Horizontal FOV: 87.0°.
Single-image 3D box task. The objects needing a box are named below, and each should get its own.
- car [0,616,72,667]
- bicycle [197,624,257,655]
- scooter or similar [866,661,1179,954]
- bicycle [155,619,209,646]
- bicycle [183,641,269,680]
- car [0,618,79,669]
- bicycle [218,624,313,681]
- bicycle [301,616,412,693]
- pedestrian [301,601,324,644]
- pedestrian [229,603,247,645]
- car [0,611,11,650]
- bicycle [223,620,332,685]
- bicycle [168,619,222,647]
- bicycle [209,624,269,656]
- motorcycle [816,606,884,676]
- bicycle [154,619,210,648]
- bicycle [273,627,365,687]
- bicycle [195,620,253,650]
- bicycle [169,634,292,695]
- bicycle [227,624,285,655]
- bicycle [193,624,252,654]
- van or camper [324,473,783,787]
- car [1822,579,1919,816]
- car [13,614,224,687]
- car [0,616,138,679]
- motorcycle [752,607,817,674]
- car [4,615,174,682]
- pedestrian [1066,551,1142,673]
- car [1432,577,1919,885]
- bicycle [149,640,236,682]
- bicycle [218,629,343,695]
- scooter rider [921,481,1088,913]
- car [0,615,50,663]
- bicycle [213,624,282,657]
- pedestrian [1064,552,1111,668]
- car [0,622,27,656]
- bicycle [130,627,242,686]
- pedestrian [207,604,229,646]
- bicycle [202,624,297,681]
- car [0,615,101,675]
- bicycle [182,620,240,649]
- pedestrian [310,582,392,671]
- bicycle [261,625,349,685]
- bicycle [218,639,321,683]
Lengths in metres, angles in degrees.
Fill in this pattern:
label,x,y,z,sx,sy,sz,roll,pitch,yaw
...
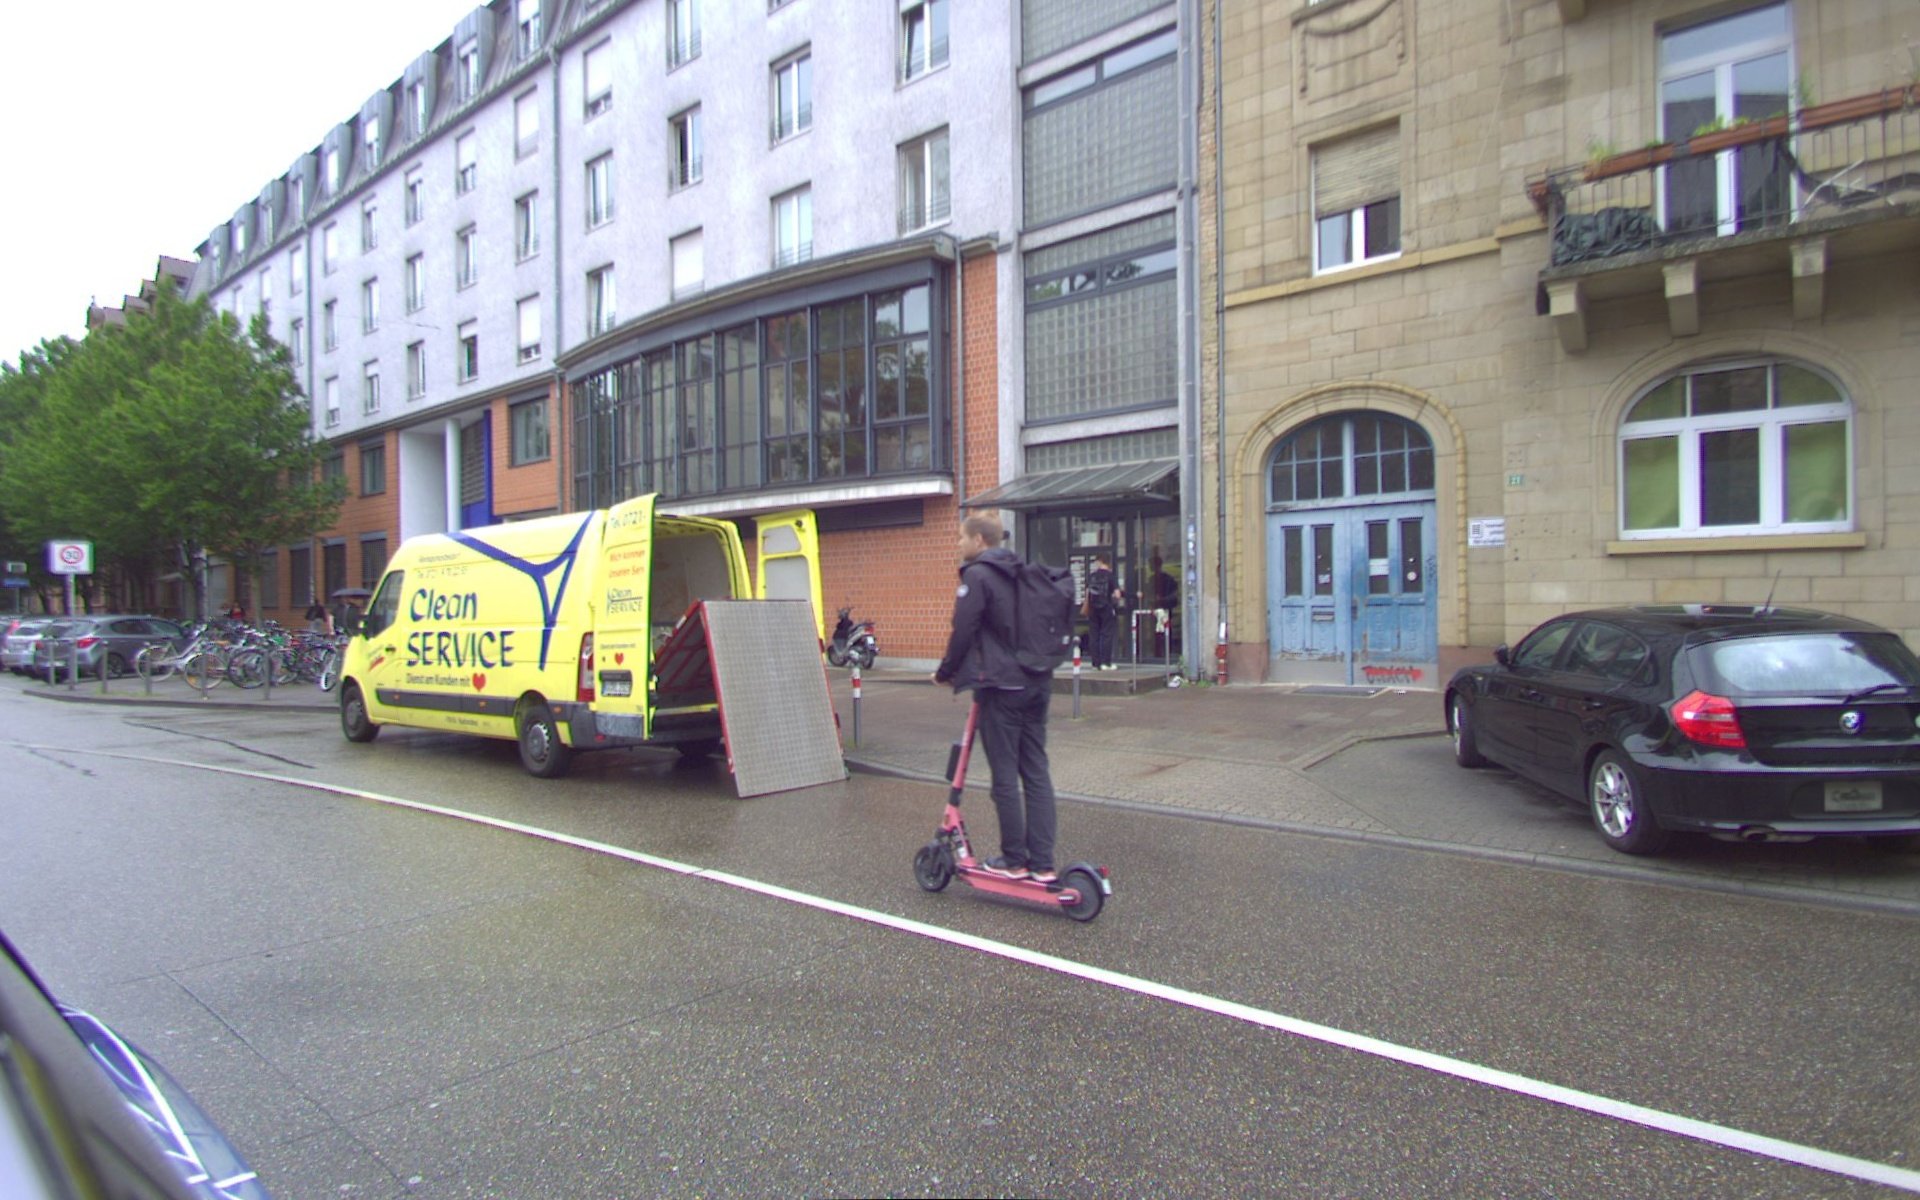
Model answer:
label,x,y,z,sx,sy,sz,roll,pitch,yaw
car,-30.761,1.347,32.655,1.358,1.567,2.971,-1,0,11
bicycle,-24.524,1.308,33.894,0.444,0.992,1.573,-1,-1,32
scooter or similar,0.279,0.912,4.959,1.383,1.174,0.694,-1,-2,39
bicycle,-29.605,1.224,38.546,0.464,0.992,1.573,-1,-1,32
bicycle,-16.170,1.324,22.309,0.497,0.727,1.454,-1,1,43
car,-28.892,1.311,31.272,1.177,1.461,2.502,-1,0,0
bicycle,-14.755,1.097,21.538,0.517,1.114,1.596,-1,1,27
bicycle,-11.033,0.971,18.592,0.760,1.225,1.917,0,2,5
pedestrian,-23.131,0.808,36.139,0.547,1.541,0.509,-1,-2,37
pedestrian,-28.424,0.931,39.832,0.425,1.622,0.508,-1,-1,41
car,-48.525,1.477,48.714,1.666,1.910,4.330,0,-1,-1
bicycle,-13.884,1.042,20.636,0.517,1.203,1.798,-1,1,27
bicycle,-28.650,1.224,37.919,0.464,0.992,1.573,-1,-1,32
bicycle,-23.640,1.304,33.200,0.444,0.992,1.573,-1,-1,32
motorcycle,-1.999,0.707,18.230,0.516,1.190,1.763,-1,0,-30
bicycle,-28.342,1.214,36.894,0.464,0.992,1.573,-1,-1,32
bicycle,-12.492,1.089,19.755,0.418,1.072,1.442,-1,1,44
bicycle,-25.435,1.201,35.009,0.444,0.992,1.573,-1,-1,32
bicycle,-13.612,1.177,18.932,0.519,1.000,1.778,-1,1,38
bicycle,-23.657,1.315,34.027,0.444,0.992,1.573,-1,-1,32
bicycle,-25.098,1.310,34.442,0.444,0.992,1.573,-1,-1,32
van or camper,-4.745,0.315,11.241,5.936,2.631,2.174,-1,-2,40
car,7.094,0.633,5.577,1.780,1.585,4.029,-1,-1,11
car,-19.670,1.127,23.861,1.720,1.514,3.614,0,0,9
car,-24.067,1.235,27.223,1.432,1.514,3.078,-1,0,0
motorcycle,-3.346,0.741,19.165,0.516,1.190,2.010,-1,0,-30
car,-21.968,1.189,25.670,1.436,1.514,3.070,-1,0,9
pedestrian,2.147,0.178,15.044,0.785,1.741,0.997,-1,-1,31
car,4.917,0.676,7.031,1.777,1.523,4.034,-1,-1,7
bicycle,-16.930,1.326,22.339,0.497,0.811,1.454,-1,1,43
bicycle,-12.610,1.127,18.827,1.832,1.081,0.610,-2,1,-45
scooter rider,0.229,0.442,5.012,0.503,1.950,0.704,-1,-2,38
car,-32.871,1.337,34.429,1.138,1.567,2.672,-1,0,11
bicycle,-23.200,1.303,32.989,0.444,0.992,1.831,-1,-1,32
pedestrian,1.984,0.154,15.740,0.467,1.761,0.608,0,-2,-24
car,-43.311,1.715,44.423,1.662,1.502,3.798,0,-1,-10
bicycle,-16.334,1.173,21.400,0.472,1.114,1.791,-1,1,35
pedestrian,-29.106,0.967,39.703,0.372,1.622,0.598,-1,-1,39
bicycle,-15.325,1.116,21.866,0.519,1.114,1.591,-1,1,35
car,-26.484,1.244,28.829,1.432,1.564,3.078,-1,0,0
bicycle,-26.393,1.206,35.680,0.464,0.992,1.573,-1,-1,32
pedestrian,-13.948,0.581,23.182,1.054,1.894,1.213,-1,3,40
bicycle,-13.096,1.081,20.239,1.439,1.111,0.462,-2,1,-36
bicycle,-14.319,1.250,21.029,0.455,0.767,1.757,-1,1,27
